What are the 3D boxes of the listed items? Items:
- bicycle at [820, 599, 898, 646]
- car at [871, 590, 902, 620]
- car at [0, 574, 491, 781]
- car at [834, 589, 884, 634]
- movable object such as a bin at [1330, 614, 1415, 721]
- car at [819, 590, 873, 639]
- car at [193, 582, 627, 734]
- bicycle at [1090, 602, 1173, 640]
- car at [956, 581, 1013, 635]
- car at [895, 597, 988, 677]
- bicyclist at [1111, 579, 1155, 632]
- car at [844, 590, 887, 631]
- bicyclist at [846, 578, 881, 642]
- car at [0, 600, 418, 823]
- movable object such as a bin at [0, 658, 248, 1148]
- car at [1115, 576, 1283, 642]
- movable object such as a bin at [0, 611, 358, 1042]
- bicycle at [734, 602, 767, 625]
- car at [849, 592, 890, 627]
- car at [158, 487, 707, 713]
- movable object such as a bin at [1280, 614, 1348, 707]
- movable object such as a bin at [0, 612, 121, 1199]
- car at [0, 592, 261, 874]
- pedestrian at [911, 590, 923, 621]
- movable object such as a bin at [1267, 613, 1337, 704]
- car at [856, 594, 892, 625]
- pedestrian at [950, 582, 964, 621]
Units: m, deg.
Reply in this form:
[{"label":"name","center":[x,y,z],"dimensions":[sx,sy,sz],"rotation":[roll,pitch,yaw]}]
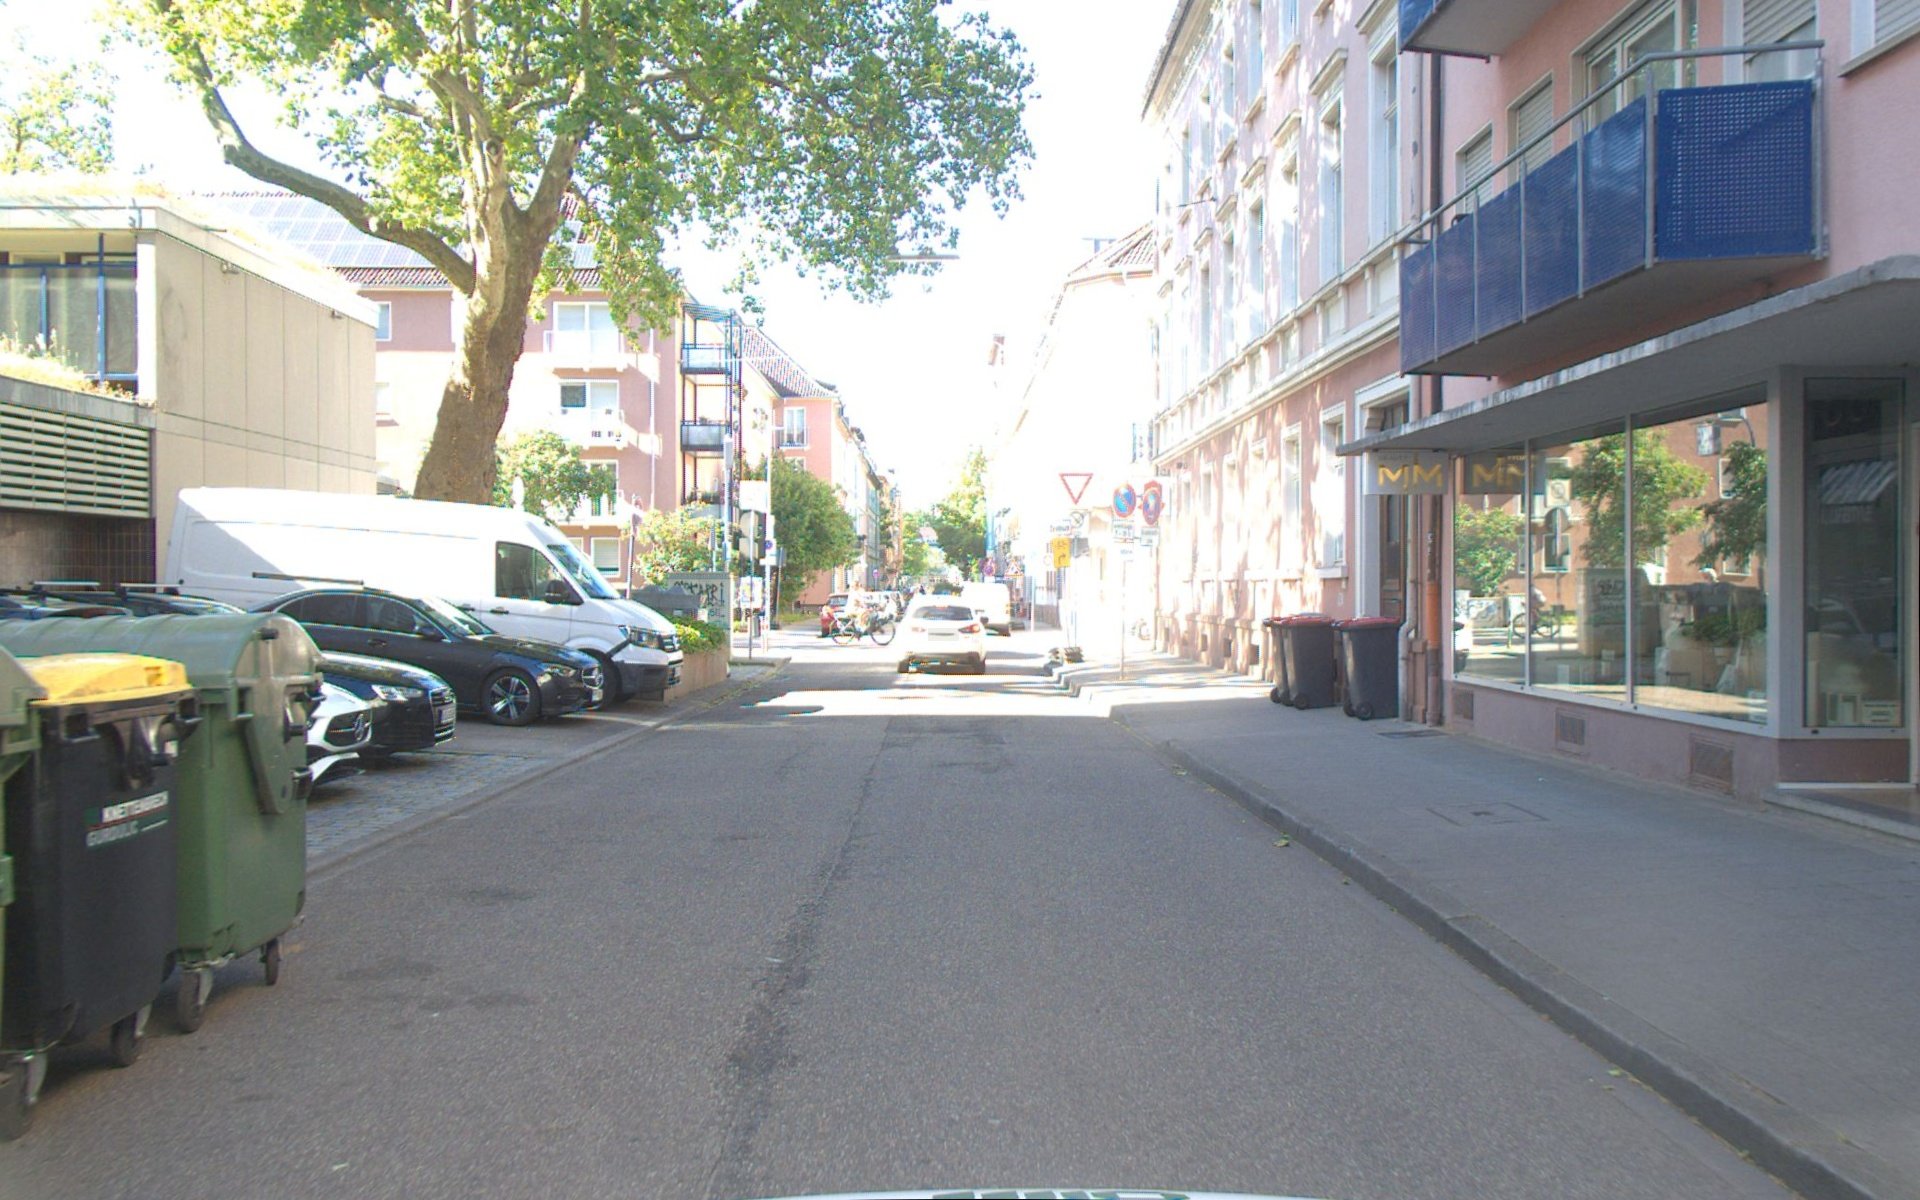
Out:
[{"label":"bicycle","center":[-2.811,0.636,46.343],"dimensions":[2.119,1.277,0.833],"rotation":[-1,-1,0]},{"label":"car","center":[-4.032,0.306,91.365],"dimensions":[1.540,1.613,3.610],"rotation":[-1,0,0]},{"label":"car","center":[-6.602,0.640,14.597],"dimensions":[4.377,1.638,1.915],"rotation":[1,-1,-3]},{"label":"car","center":[-3.921,0.438,64.744],"dimensions":[1.685,1.712,3.726],"rotation":[-1,0,0]},{"label":"movable object such as a bin","center":[4.474,0.718,17.955],"dimensions":[0.715,1.123,0.692],"rotation":[-1,-1,-3]},{"label":"car","center":[-4.040,0.497,59.143],"dimensions":[1.734,1.616,3.725],"rotation":[-1,1,-1]},{"label":"car","center":[-6.371,0.643,19.549],"dimensions":[4.408,1.496,1.929],"rotation":[3,0,0]},{"label":"bicycle","center":[5.109,0.613,49.226],"dimensions":[2.373,1.099,0.791],"rotation":[-1,-1,14]},{"label":"car","center":[0.890,0.285,62.436],"dimensions":[1.904,1.982,4.076],"rotation":[1,0,-3]},{"label":"car","center":[-0.404,0.715,34.147],"dimensions":[1.787,1.540,3.822],"rotation":[-1,0,-1]},{"label":"bicyclist","center":[5.163,0.172,49.223],"dimensions":[1.170,1.543,0.841],"rotation":[-1,-1,15]},{"label":"car","center":[-3.990,0.439,70.257],"dimensions":[1.602,1.685,3.784],"rotation":[0,0,0]},{"label":"bicyclist","center":[-2.707,0.282,46.397],"dimensions":[0.905,1.750,0.942],"rotation":[-1,-1,0]},{"label":"car","center":[-6.421,0.741,12.070],"dimensions":[4.254,1.450,1.957],"rotation":[1,-1,-2]},{"label":"movable object such as a bin","center":[-3.058,0.867,5.158],"dimensions":[1.215,1.345,1.045],"rotation":[0,-1,-1]},{"label":"car","center":[7.391,0.282,51.213],"dimensions":[4.791,1.962,1.999],"rotation":[0,-2,24]},{"label":"movable object such as a bin","center":[-3.100,0.781,6.256],"dimensions":[1.275,1.476,1.116],"rotation":[0,-1,-4]},{"label":"bicycle","center":[-8.910,0.567,70.354],"dimensions":[0.598,0.948,1.893],"rotation":[0,-1,-33]},{"label":"car","center":[-4.188,0.444,77.040],"dimensions":[1.685,1.604,3.725],"rotation":[-1,0,0]},{"label":"car","center":[-6.953,0.002,22.341],"dimensions":[6.600,2.599,2.146],"rotation":[3,-1,1]},{"label":"movable object such as a bin","center":[4.248,0.722,19.896],"dimensions":[0.687,1.092,0.596],"rotation":[-1,-1,1]},{"label":"movable object such as a bin","center":[-2.998,0.788,4.068],"dimensions":[1.307,1.517,1.081],"rotation":[0,-1,-1]},{"label":"car","center":[-6.458,0.722,9.855],"dimensions":[3.797,1.531,1.826],"rotation":[0,-1,-2]},{"label":"pedestrian","center":[-2.538,0.327,97.536],"dimensions":[0.634,1.828,0.639],"rotation":[-1,-1,0]},{"label":"movable object such as a bin","center":[4.241,0.718,20.528],"dimensions":[0.730,1.105,0.635],"rotation":[-1,-1,1]},{"label":"car","center":[-4.199,0.470,81.051],"dimensions":[1.569,1.503,3.567],"rotation":[-1,0,0]},{"label":"pedestrian","center":[-0.191,0.083,92.410],"dimensions":[0.755,2.155,0.834],"rotation":[-1,-1,0]}]
